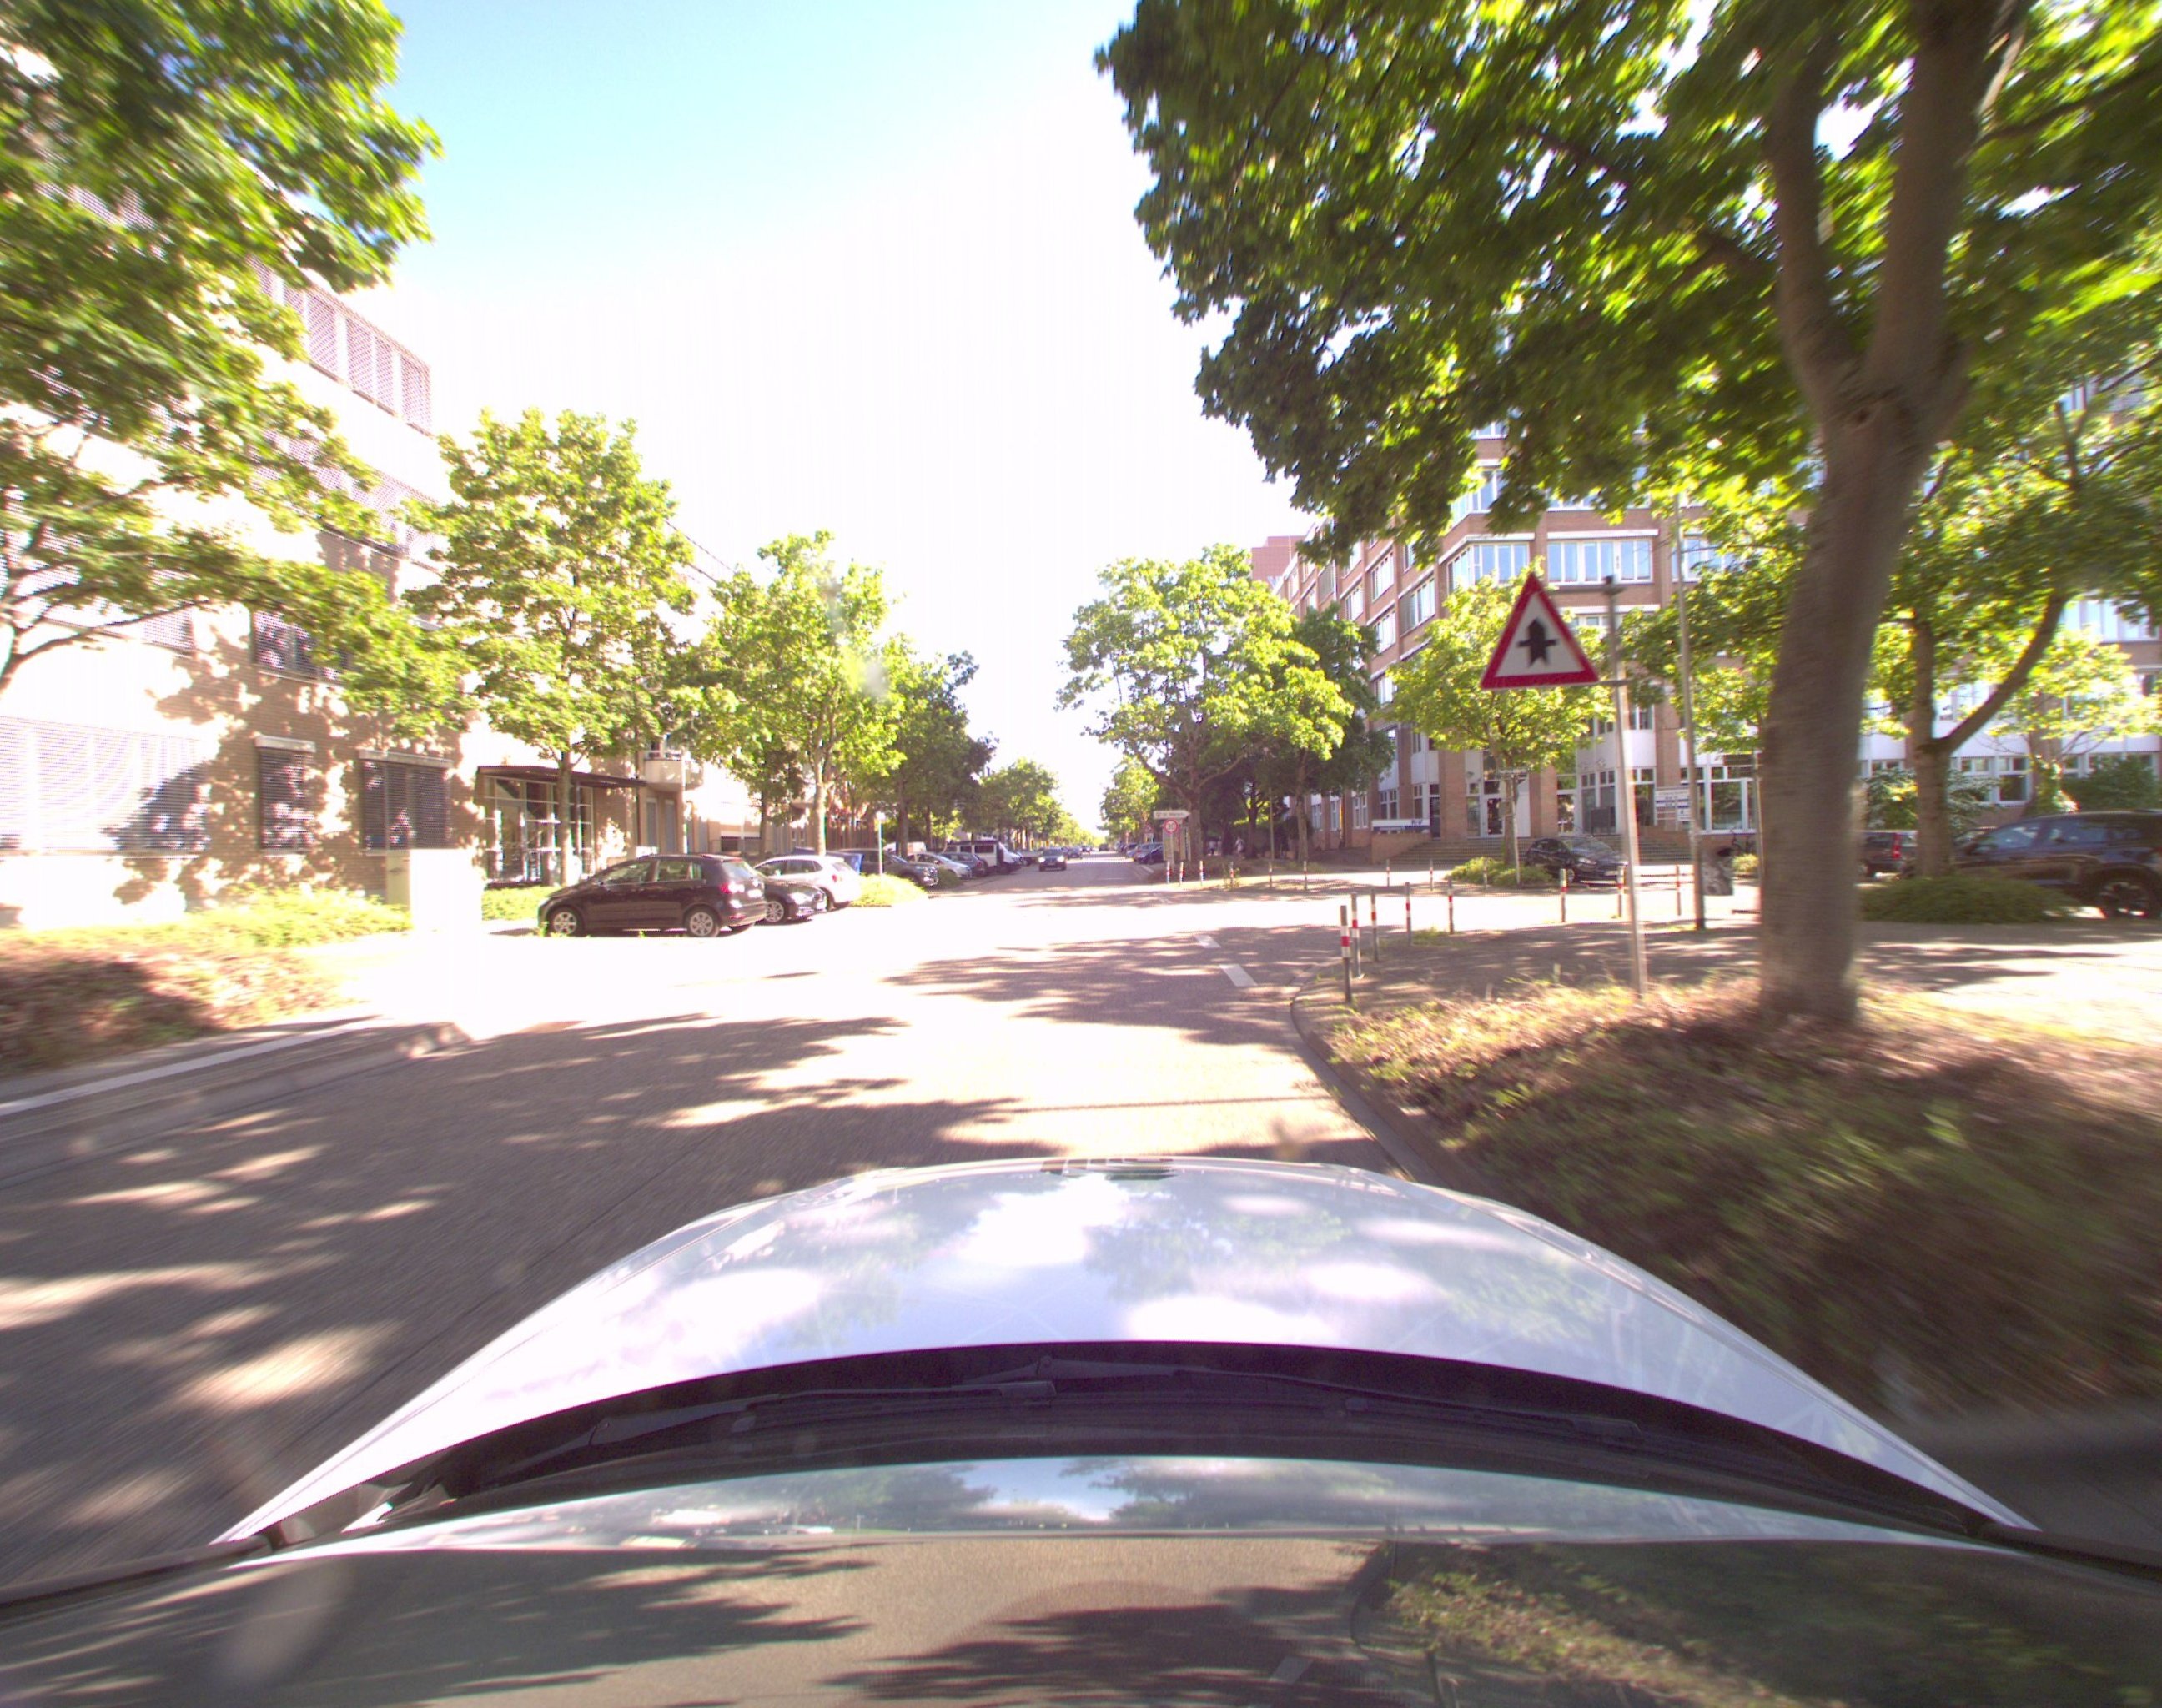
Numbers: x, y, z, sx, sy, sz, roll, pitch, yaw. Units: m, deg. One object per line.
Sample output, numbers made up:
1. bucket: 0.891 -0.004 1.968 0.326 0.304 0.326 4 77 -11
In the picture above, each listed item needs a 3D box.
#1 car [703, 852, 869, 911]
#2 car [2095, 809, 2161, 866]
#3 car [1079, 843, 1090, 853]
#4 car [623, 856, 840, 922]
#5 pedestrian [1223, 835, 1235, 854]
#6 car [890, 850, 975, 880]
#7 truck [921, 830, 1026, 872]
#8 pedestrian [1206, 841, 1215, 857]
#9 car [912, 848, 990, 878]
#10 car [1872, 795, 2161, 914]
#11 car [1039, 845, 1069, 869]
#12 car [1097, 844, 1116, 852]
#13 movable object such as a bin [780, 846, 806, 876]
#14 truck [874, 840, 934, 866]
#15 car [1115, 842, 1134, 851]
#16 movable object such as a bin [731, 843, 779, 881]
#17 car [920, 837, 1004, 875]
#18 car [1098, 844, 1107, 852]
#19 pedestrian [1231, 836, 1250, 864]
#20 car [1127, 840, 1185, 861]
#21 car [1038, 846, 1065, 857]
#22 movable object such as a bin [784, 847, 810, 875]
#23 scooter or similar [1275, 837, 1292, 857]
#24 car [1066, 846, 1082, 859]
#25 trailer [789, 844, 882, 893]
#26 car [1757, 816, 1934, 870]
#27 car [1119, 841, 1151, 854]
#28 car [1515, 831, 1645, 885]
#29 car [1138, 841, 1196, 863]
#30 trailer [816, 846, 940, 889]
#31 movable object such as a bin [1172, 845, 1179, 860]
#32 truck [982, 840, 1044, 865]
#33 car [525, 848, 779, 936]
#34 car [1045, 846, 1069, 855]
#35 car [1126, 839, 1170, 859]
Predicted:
1. car: -7.722 0.700 21.554 3.741 1.452 1.755 0 1 1
2. car: 34.142 -0.506 24.648 1.910 1.723 4.117 -2 2 3
3. car: 0.597 -1.069 148.870 1.886 1.684 4.352 -2 1 0
4. car: -7.846 0.761 18.563 4.137 1.402 1.801 0 0 1
5. pedestrian: 14.038 -0.883 77.390 0.696 1.710 0.918 -5 1 -9
6. car: -7.339 0.526 40.525 3.816 1.461 1.735 0 1 4
7. truck: -6.709 -0.200 51.433 6.208 2.421 2.188 -2 0 2
8. pedestrian: 12.264 -0.480 77.300 0.698 1.458 0.715 -2 1 -1
9. car: -6.870 0.460 43.329 3.763 1.492 1.834 0 1 2
10. car: 15.107 0.031 12.449 1.733 1.566 4.364 -1 -2 -1
11. car: -1.830 0.167 55.824 1.773 1.511 4.002 -2 0 2
12. car: 5.621 -1.268 178.015 3.979 1.624 1.998 -2 0 -4
13. movable object such as a bin: -16.061 0.389 45.447 1.145 1.619 1.437 -2 1 -11
14. truck: -20.109 -0.149 92.726 6.085 2.704 2.577 -2 0 -1
15. car: 9.892 -1.734 185.855 3.979 1.792 1.998 -2 0 -4
16. movable object such as a bin: -16.114 0.361 40.333 1.592 1.796 1.666 -2 1 3
17. car: -6.679 0.101 46.141 4.468 2.051 2.000 0 0 -1
18. car: 4.799 -1.403 179.916 1.926 1.597 4.368 -2 1 1
19. pedestrian: 10.230 -0.255 52.242 0.918 1.710 0.695 -5 1 -12
20. car: 6.019 -0.289 65.430 4.344 1.597 1.936 -2 0 -5
21. car: -4.311 -0.345 119.074 3.720 1.464 1.677 -2 0 0
22. movable object such as a bin: -16.279 0.388 46.742 1.145 1.562 1.240 -2 0 -11
23. scooter or similar: 13.419 -0.467 54.038 0.547 1.325 1.804 0 0 -3
24. car: -0.807 -0.227 96.663 1.637 1.420 4.002 -2 1 1
25. trailer: -8.591 0.484 28.677 2.715 1.687 1.713 0 1 2
26. car: 23.252 -0.332 25.025 1.681 1.461 4.278 -2 0 5
27. car: 7.573 -0.876 114.137 4.255 1.633 1.857 -3 0 -1
28. car: 15.081 0.072 24.856 1.646 1.462 3.919 -2 1 2
29. car: 6.138 -0.122 58.247 3.922 1.439 1.774 -2 0 -1
30. trailer: -7.645 0.473 31.012 4.249 1.572 1.855 0 0 -2
31. movable object such as a bin: 5.047 -0.082 43.649 0.297 0.753 0.467 -4 0 2
32. truck: -5.860 -0.124 70.663 4.963 1.959 2.141 -2 0 4
33. car: -8.200 0.697 15.813 3.973 1.570 1.728 1 0 1
34. car: -4.136 -0.577 140.452 3.879 1.464 1.858 -2 0 0
35. car: 6.888 -0.530 83.996 4.390 1.618 1.912 -5 1 0
